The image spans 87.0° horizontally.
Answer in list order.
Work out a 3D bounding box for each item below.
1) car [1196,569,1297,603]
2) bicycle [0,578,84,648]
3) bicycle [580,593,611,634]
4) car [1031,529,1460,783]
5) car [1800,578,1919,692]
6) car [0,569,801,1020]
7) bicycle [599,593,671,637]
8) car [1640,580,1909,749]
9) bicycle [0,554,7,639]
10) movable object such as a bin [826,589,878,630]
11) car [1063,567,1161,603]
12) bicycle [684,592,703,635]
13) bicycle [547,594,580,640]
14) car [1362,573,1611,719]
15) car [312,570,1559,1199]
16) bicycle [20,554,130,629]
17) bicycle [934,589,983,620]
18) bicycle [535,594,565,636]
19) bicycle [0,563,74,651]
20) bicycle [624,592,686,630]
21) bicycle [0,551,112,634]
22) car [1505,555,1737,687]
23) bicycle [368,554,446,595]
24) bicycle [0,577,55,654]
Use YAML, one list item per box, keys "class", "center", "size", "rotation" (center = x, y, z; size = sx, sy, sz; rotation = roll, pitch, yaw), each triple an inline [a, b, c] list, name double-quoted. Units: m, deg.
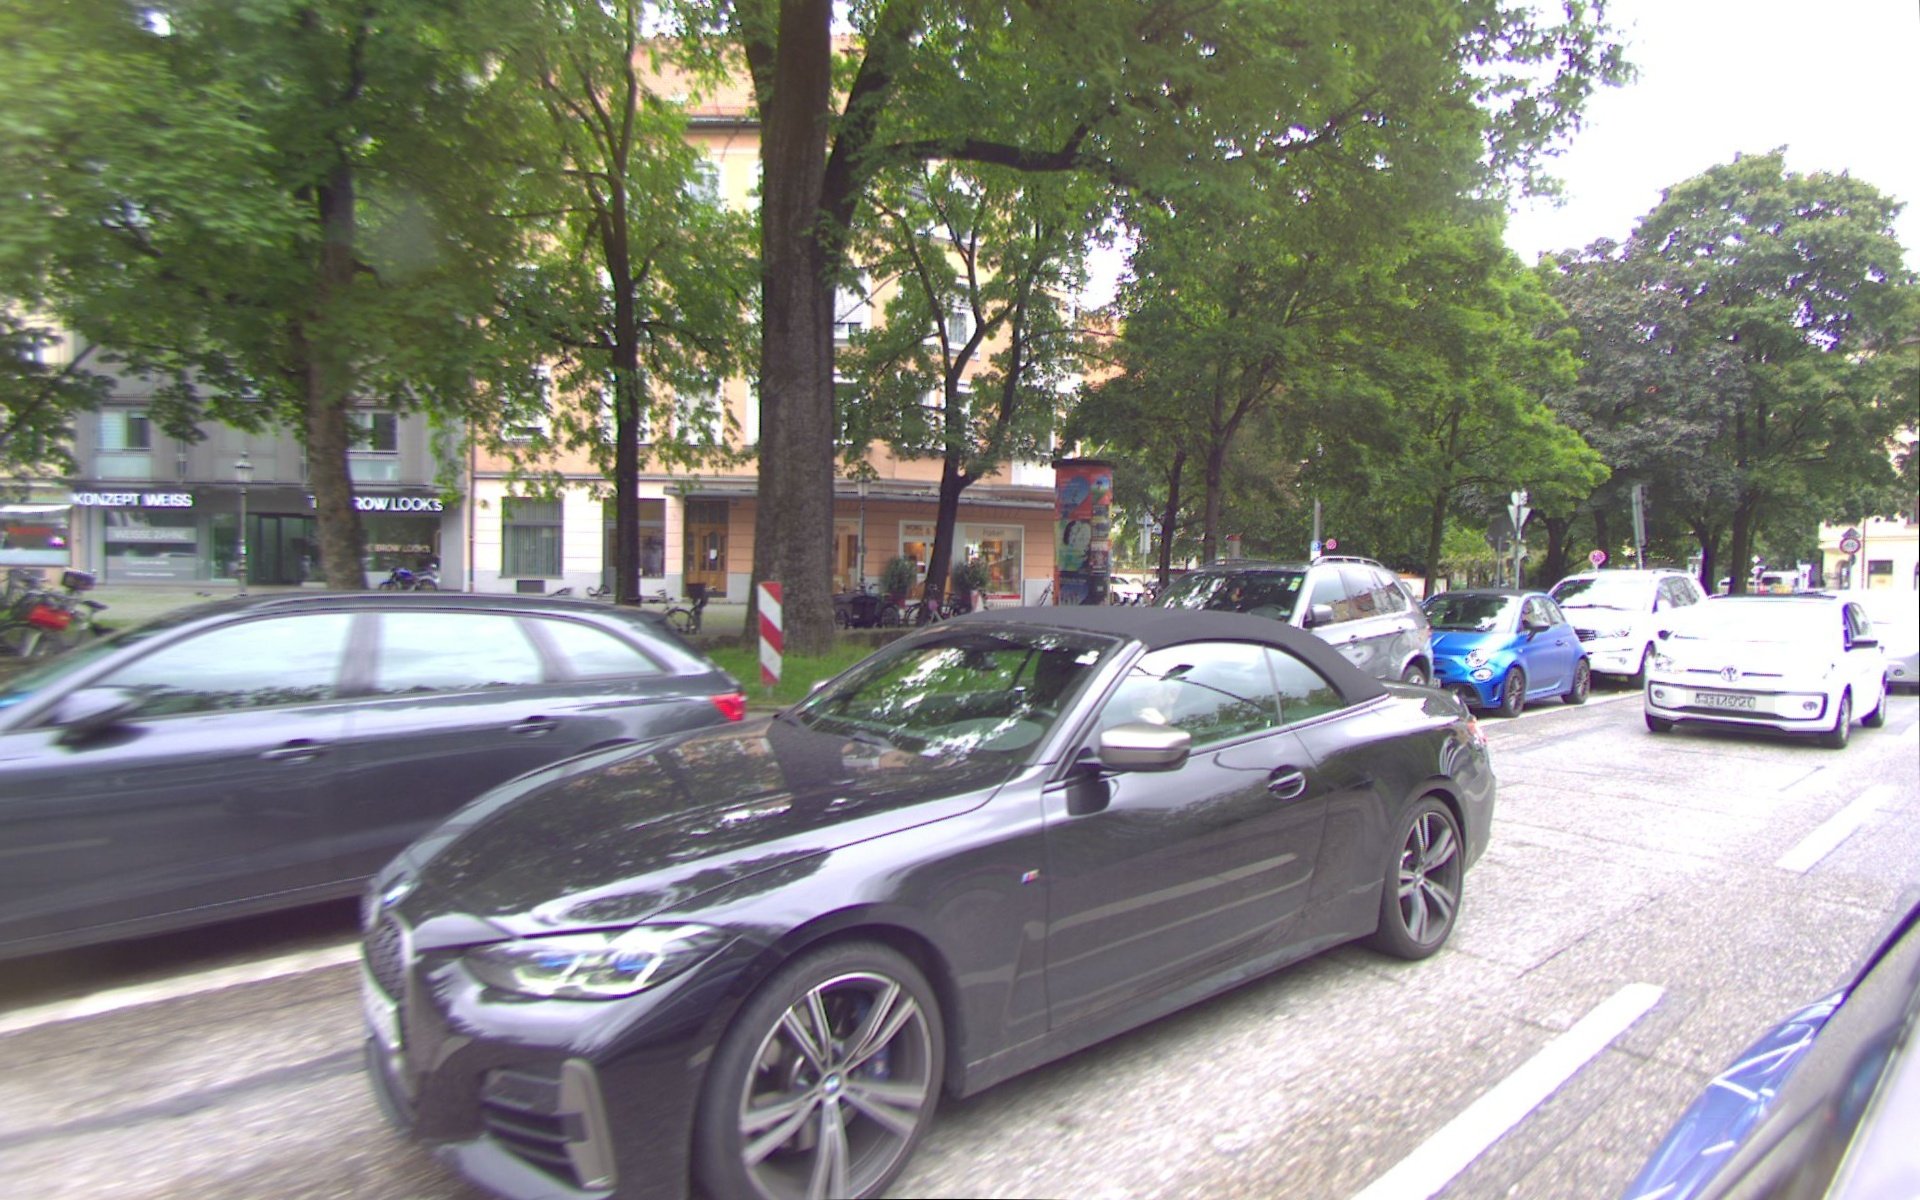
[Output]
- class: "car"
  center: [13.117, -0.662, 46.563]
  size: [1.824, 1.485, 4.447]
  rotation: [-1, 1, -30]
- class: "bicycle"
  center: [-12.540, 0.172, 13.390]
  size: [1.386, 0.905, 0.313]
  rotation: [-1, 1, -35]
- class: "bicycle"
  center: [-6.910, 0.242, 19.154]
  size: [0.313, 0.732, 1.180]
  rotation: [-1, 1, -31]
- class: "car"
  center: [2.884, 0.349, 9.585]
  size: [4.480, 1.842, 1.933]
  rotation: [-1, 2, -45]
- class: "car"
  center: [14.456, 0.465, 15.646]
  size: [3.819, 1.549, 1.647]
  rotation: [-1, 2, -41]
- class: "car"
  center: [-3.141, 0.622, 4.606]
  size: [4.563, 1.479, 1.770]
  rotation: [-1, 2, -42]
- class: "bicycle"
  center: [-5.695, 0.257, 17.768]
  size: [1.155, 0.732, 0.319]
  rotation: [-1, 1, -29]
- class: "car"
  center: [8.851, 0.558, 10.910]
  size: [3.557, 1.483, 1.647]
  rotation: [-1, 2, -41]
- class: "bicycle"
  center: [-16.605, -0.120, 16.448]
  size: [2.439, 1.373, 0.626]
  rotation: [4, 2, 21]
- class: "movable object such as a bin"
  center: [-2.491, 0.204, 23.268]
  size: [0.758, 0.883, 1.182]
  rotation: [0, 2, -32]
- class: "car"
  center: [6.505, -0.661, 43.759]
  size: [1.824, 1.485, 4.447]
  rotation: [-1, 1, -30]
- class: "bicycle"
  center: [-4.867, 0.233, 18.533]
  size: [0.312, 0.732, 1.181]
  rotation: [-1, 1, -14]
- class: "bicycle"
  center: [-6.756, 0.279, 17.221]
  size: [0.313, 0.732, 1.180]
  rotation: [-1, 1, -31]
- class: "car"
  center: [6.737, 0.479, 12.808]
  size: [3.597, 1.568, 1.523]
  rotation: [0, 2, -40]
- class: "car"
  center: [0.378, 0.632, 3.900]
  size: [4.711, 1.406, 1.728]
  rotation: [0, 2, -38]
- class: "bicycle"
  center: [-18.097, -0.188, 20.677]
  size: [2.439, 1.373, 0.626]
  rotation: [4, 2, 21]
- class: "bicycle"
  center: [-0.026, 0.098, 24.337]
  size: [1.157, 0.732, 0.319]
  rotation: [-1, 1, 4]
- class: "bicycle"
  center: [-7.472, 0.262, 18.413]
  size: [0.313, 0.732, 1.180]
  rotation: [-1, 1, -31]
- class: "bicycle"
  center: [-10.073, 0.072, 10.697]
  size: [1.391, 0.905, 0.312]
  rotation: [0, 1, 13]
- class: "bicycle"
  center: [-6.041, 0.215, 20.069]
  size: [1.154, 0.732, 0.320]
  rotation: [-1, 1, -18]
- class: "bicycle"
  center: [-16.846, -0.163, 18.746]
  size: [2.439, 1.373, 0.626]
  rotation: [4, 2, 21]
- class: "car"
  center: [11.046, 0.248, 16.762]
  size: [4.935, 1.879, 1.848]
  rotation: [0, 2, -40]
- class: "bicycle"
  center: [-18.069, -0.825, 33.091]
  size: [2.204, 1.305, 0.507]
  rotation: [-1, 1, -3]
- class: "bicycle"
  center: [-11.733, 0.190, 12.055]
  size: [1.386, 0.905, 0.313]
  rotation: [-1, 1, -35]
